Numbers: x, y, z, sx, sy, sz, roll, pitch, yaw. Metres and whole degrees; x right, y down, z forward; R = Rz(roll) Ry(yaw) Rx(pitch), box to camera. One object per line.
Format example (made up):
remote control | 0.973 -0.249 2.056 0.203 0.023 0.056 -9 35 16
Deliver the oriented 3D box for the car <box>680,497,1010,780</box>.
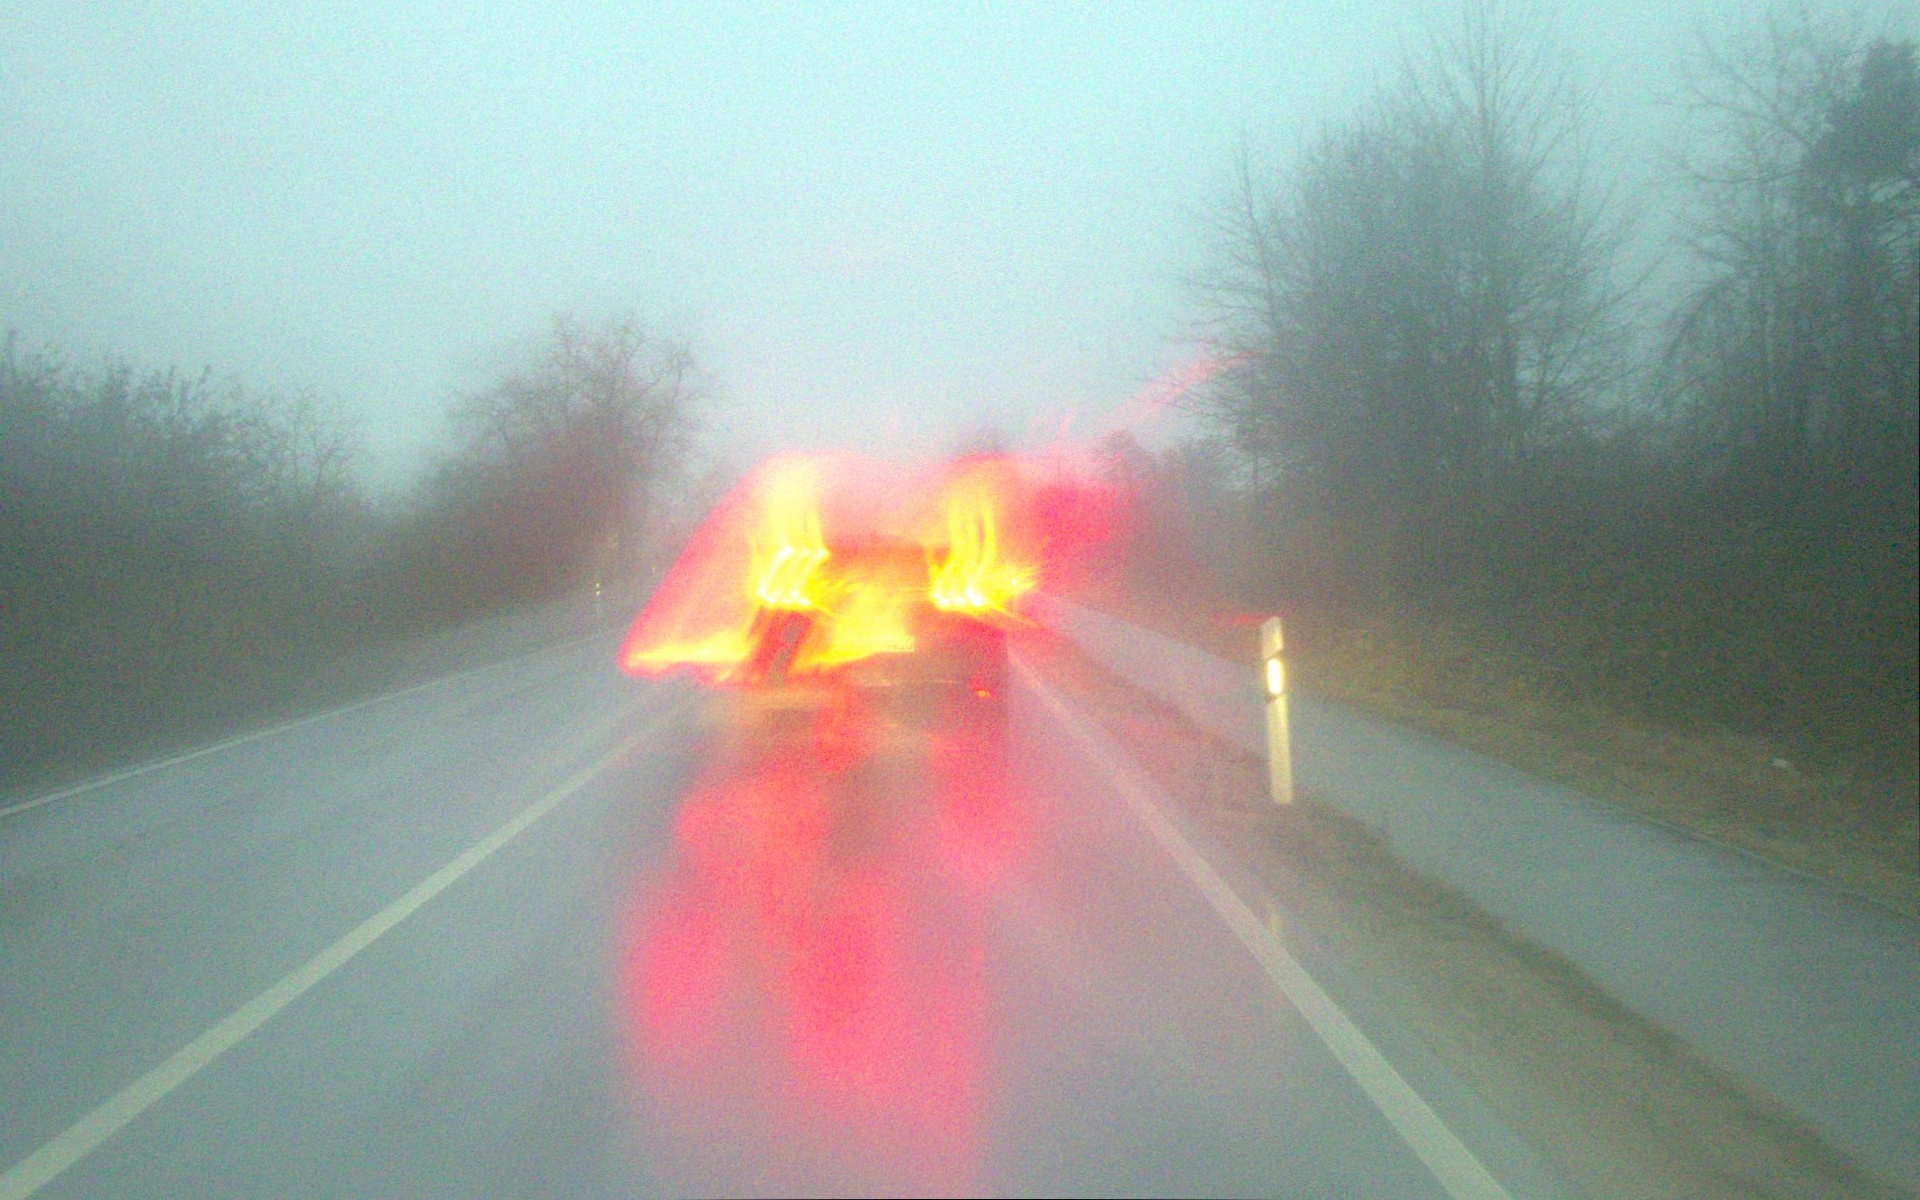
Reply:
car | -0.774 0.201 24.629 2.120 1.813 4.980 0 1 -1
